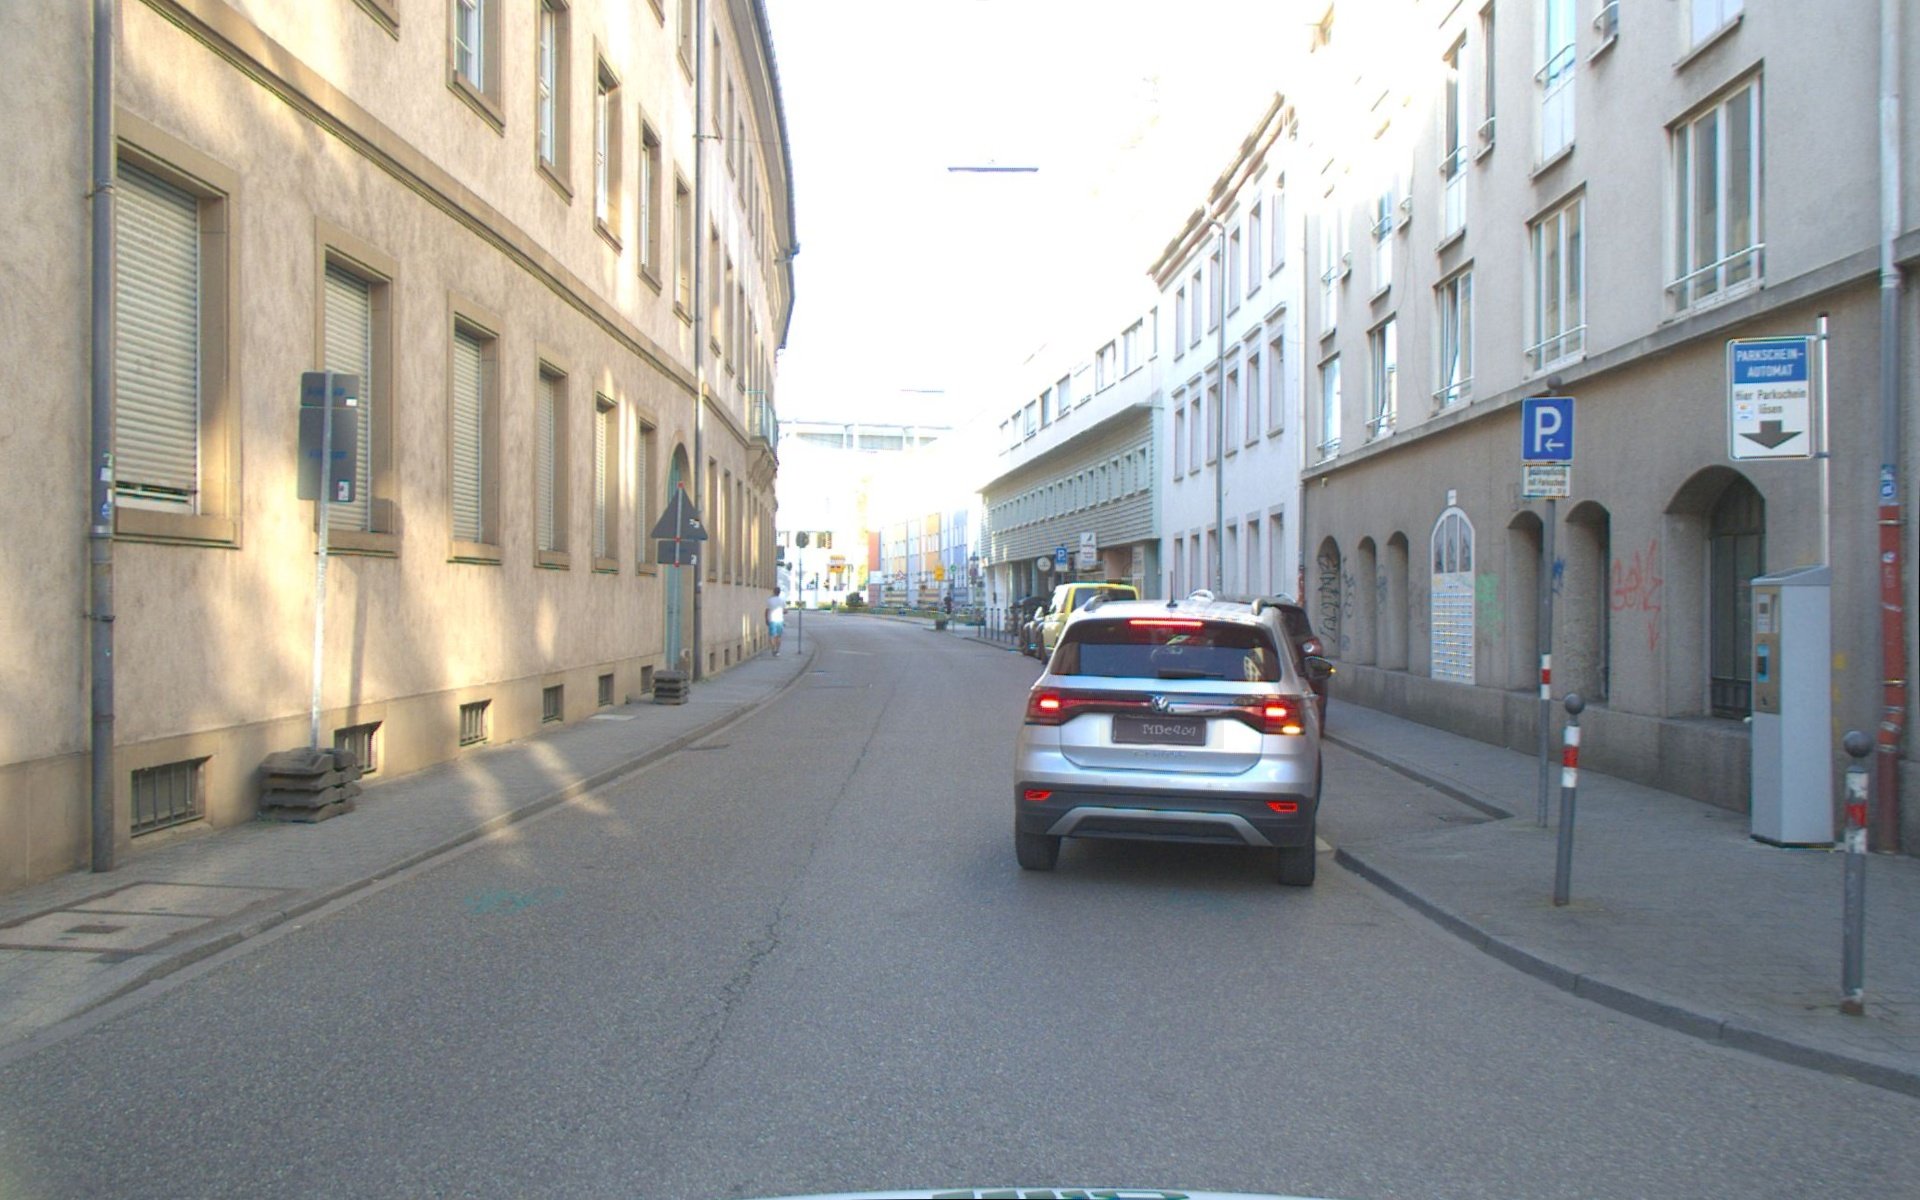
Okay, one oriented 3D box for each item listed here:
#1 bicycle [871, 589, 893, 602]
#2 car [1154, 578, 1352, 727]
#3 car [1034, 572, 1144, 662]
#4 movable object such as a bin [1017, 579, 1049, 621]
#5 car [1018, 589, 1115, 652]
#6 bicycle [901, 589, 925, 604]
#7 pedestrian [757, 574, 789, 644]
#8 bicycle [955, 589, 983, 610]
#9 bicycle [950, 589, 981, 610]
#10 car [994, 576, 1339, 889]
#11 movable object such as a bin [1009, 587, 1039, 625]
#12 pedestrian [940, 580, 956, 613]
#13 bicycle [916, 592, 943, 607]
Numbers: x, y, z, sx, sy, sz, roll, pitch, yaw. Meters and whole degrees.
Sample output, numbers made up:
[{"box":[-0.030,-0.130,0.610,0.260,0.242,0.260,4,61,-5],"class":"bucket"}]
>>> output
[{"box":[-6.711,-0.375,142.308,1.723,1.021,0.611,-1,0,-14],"class":"bicycle"},{"box":[3.620,0.580,21.188,1.787,1.683,4.494,1,1,1],"class":"car"},{"box":[2.877,0.340,37.919,1.846,1.915,4.842,1,0,-3],"class":"car"},{"box":[2.744,-0.007,62.233,0.962,1.506,1.549,-1,-2,-6],"class":"movable object such as a bin"},{"box":[2.724,0.495,43.192,1.847,1.515,4.363,1,1,-6],"class":"car"},{"box":[-3.625,-0.268,128.408,1.777,1.157,0.550,0,0,-10],"class":"bicycle"},{"box":[-4.668,0.216,41.307,0.679,1.699,0.874,2,0,-4],"class":"pedestrian"},{"box":[0.535,-0.054,99.439,1.615,1.161,0.282,-3,1,-17],"class":"bicycle"},{"box":[0.334,-0.022,97.982,1.716,1.161,0.551,-3,1,-9],"class":"bicycle"},{"box":[1.503,0.668,10.661,1.786,1.586,3.990,1,0,13],"class":"car"},{"box":[2.471,0.232,63.840,0.962,1.409,1.319,-1,-2,-6],"class":"movable object such as a bin"},{"box":[-0.658,-0.189,93.294,0.684,1.790,1.186,-2,1,-8],"class":"pedestrian"},{"box":[-2.071,-0.051,111.681,1.716,0.963,0.551,-1,0,-9],"class":"bicycle"}]
